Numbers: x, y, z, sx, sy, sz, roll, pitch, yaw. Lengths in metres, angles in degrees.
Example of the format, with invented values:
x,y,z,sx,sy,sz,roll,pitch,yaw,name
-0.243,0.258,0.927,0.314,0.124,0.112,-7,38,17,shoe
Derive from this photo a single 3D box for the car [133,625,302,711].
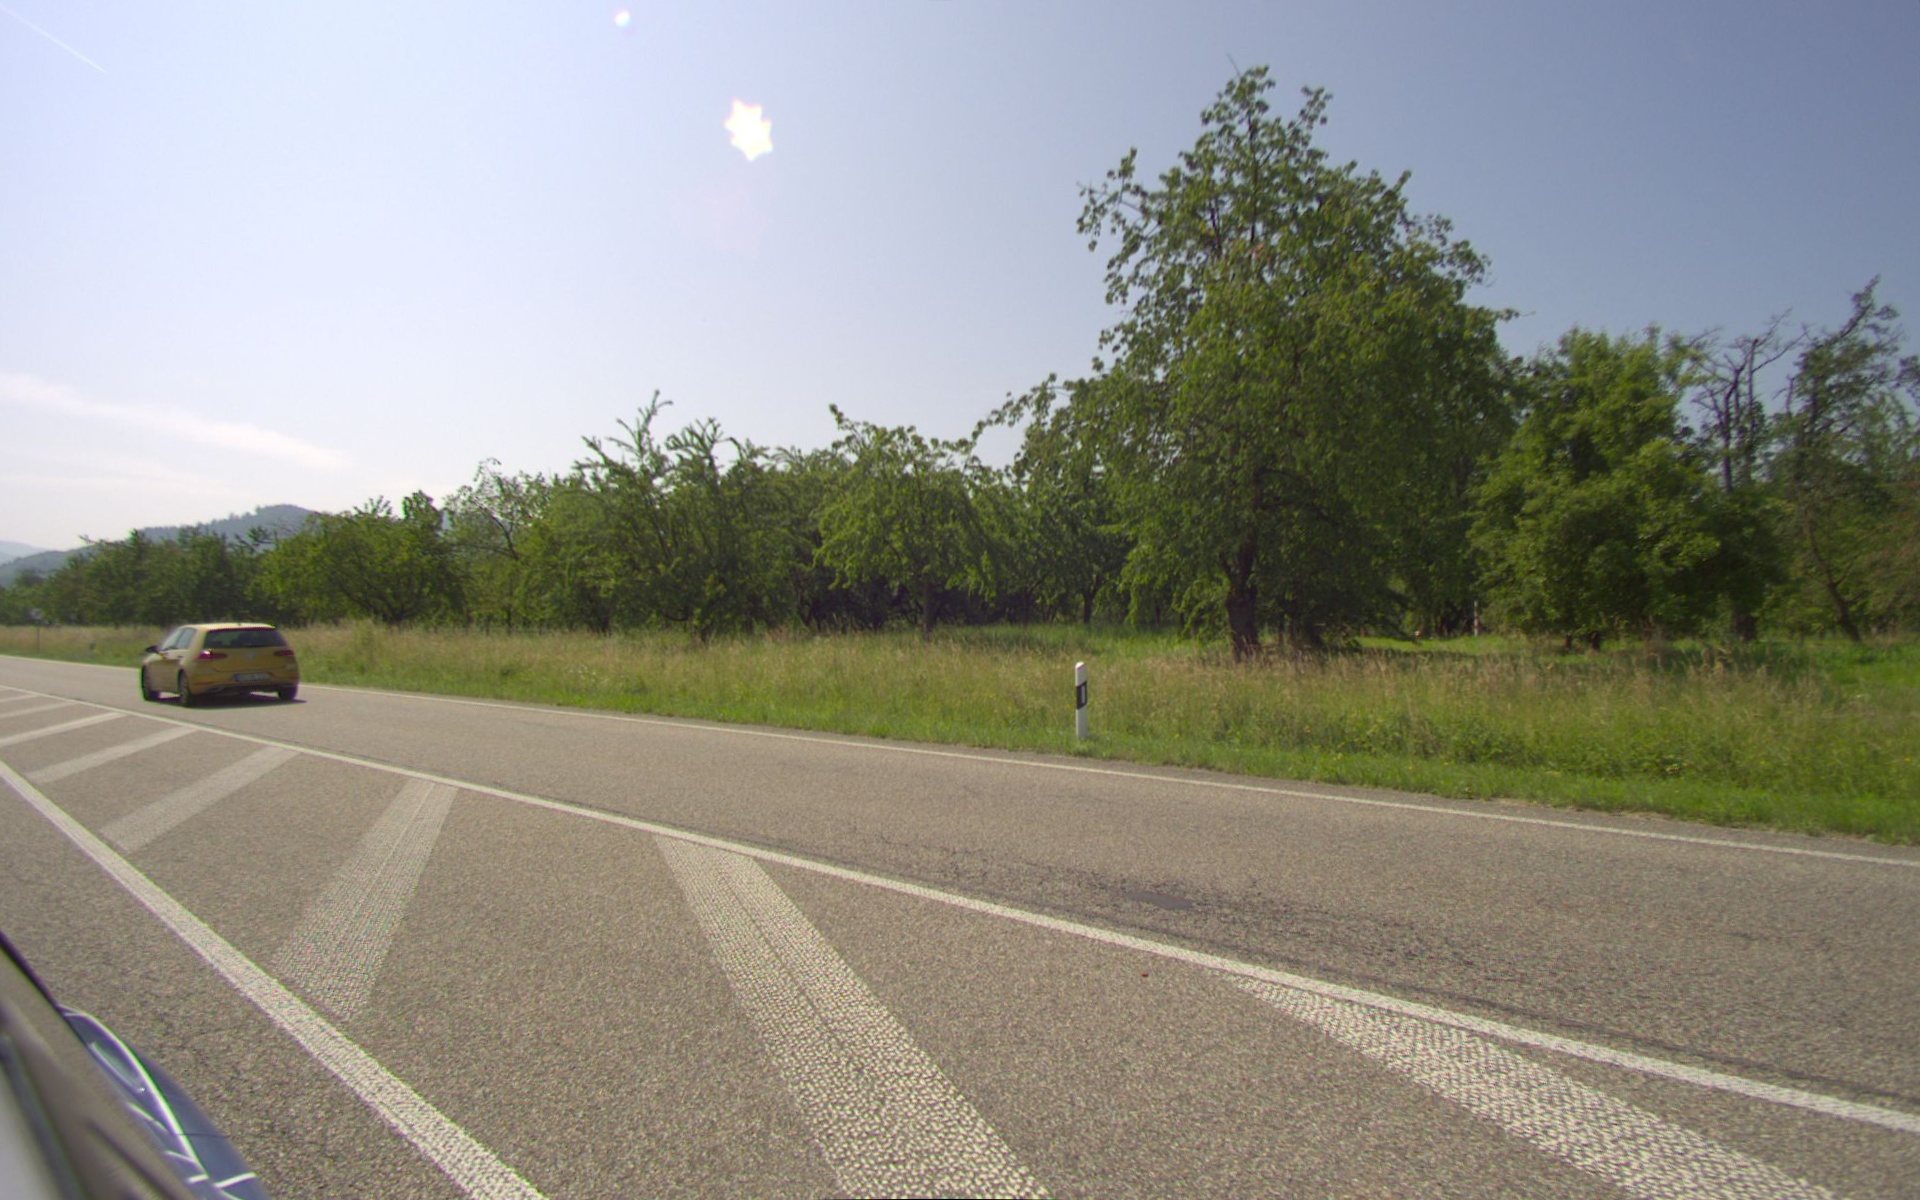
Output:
x,y,z,sx,sy,sz,roll,pitch,yaw,name
-14.033,1.209,19.064,3.821,1.427,1.680,-1,-1,39,car

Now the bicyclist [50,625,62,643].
x,y,z,sx,sy,sz,roll,pitch,yaw,name
-77.746,2.929,87.033,0.863,1.466,0.732,0,0,42,bicyclist

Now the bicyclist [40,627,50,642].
x,y,z,sx,sy,sz,roll,pitch,yaw,name
-85.761,3.216,94.828,0.863,1.425,0.634,0,0,42,bicyclist

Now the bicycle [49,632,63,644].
x,y,z,sx,sy,sz,roll,pitch,yaw,name
-77.743,3.285,87.030,2.225,0.997,0.732,0,0,42,bicycle
